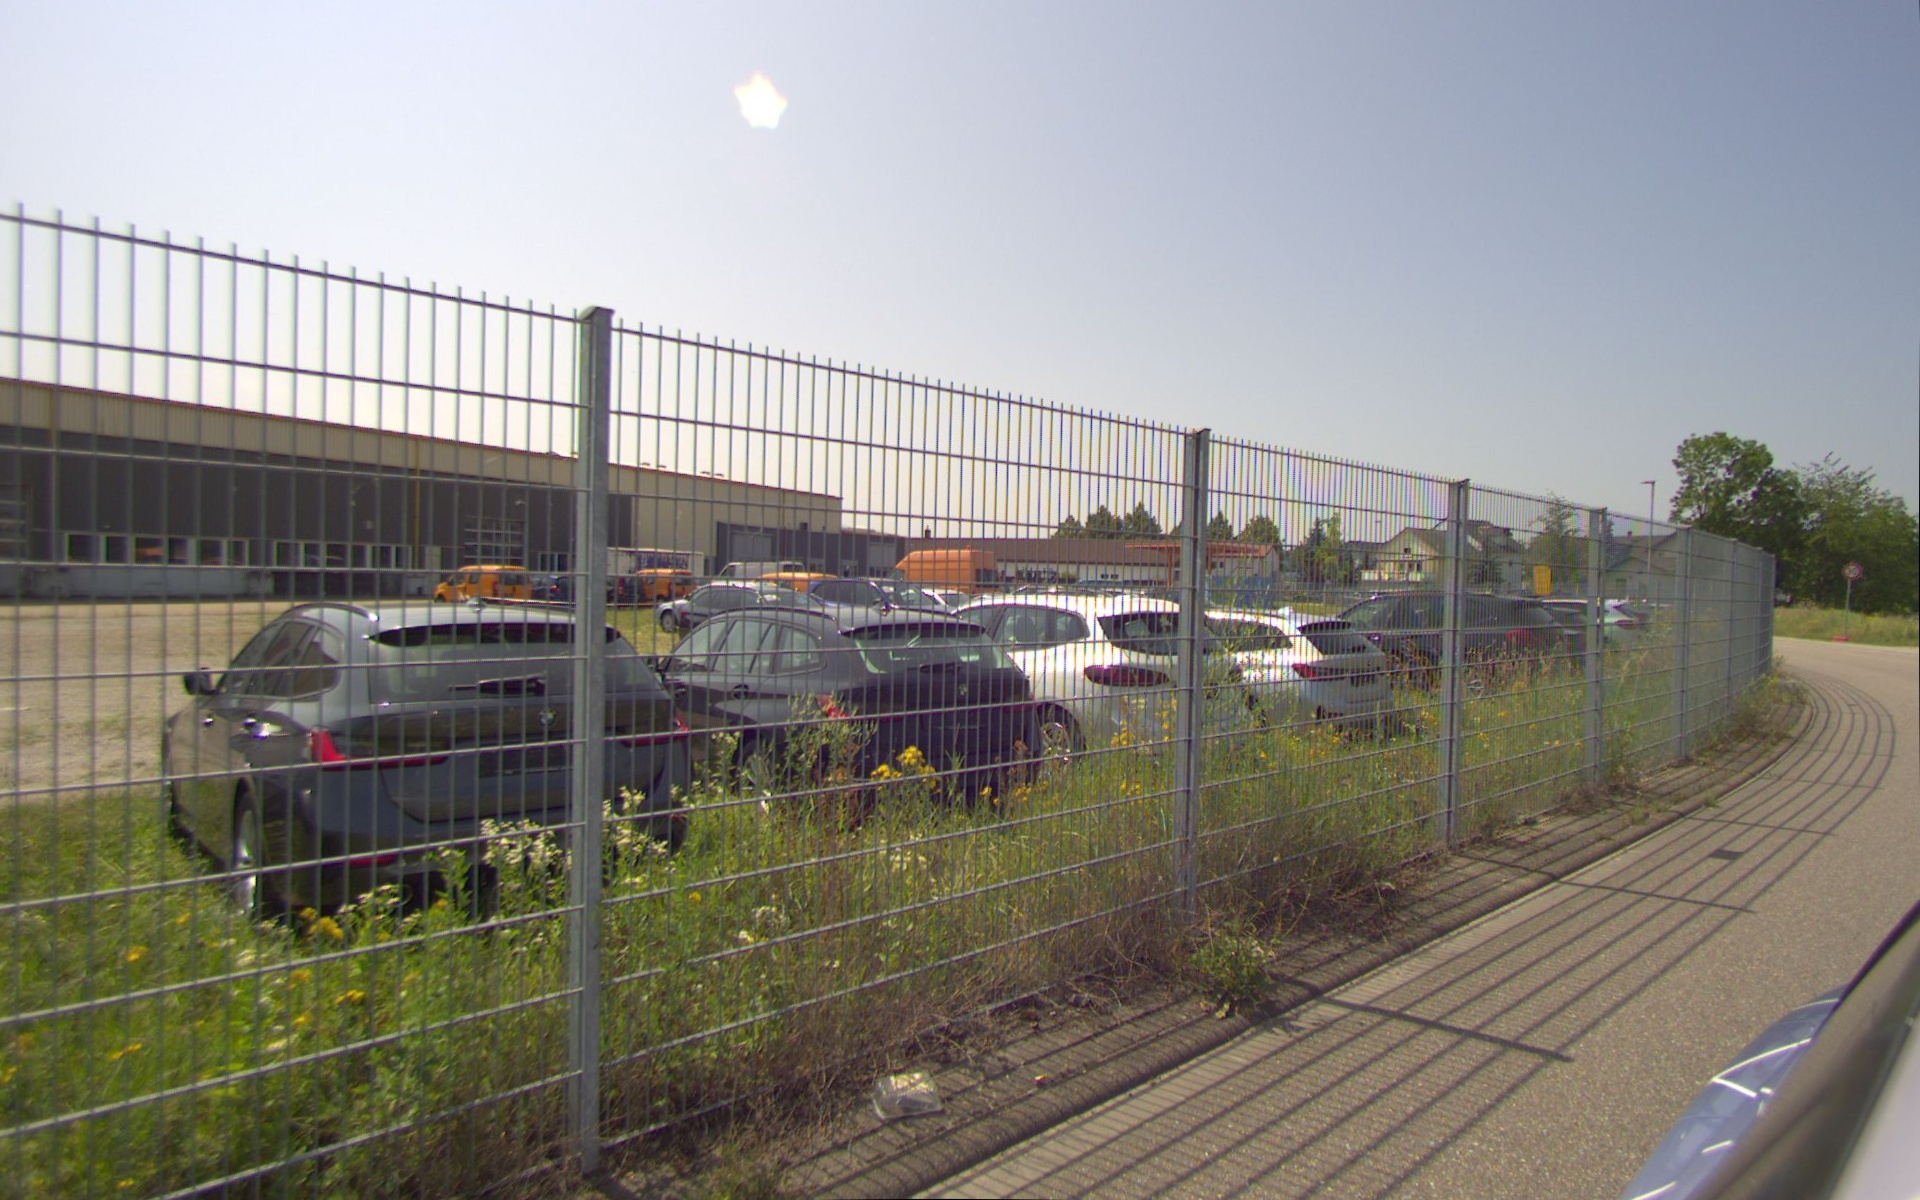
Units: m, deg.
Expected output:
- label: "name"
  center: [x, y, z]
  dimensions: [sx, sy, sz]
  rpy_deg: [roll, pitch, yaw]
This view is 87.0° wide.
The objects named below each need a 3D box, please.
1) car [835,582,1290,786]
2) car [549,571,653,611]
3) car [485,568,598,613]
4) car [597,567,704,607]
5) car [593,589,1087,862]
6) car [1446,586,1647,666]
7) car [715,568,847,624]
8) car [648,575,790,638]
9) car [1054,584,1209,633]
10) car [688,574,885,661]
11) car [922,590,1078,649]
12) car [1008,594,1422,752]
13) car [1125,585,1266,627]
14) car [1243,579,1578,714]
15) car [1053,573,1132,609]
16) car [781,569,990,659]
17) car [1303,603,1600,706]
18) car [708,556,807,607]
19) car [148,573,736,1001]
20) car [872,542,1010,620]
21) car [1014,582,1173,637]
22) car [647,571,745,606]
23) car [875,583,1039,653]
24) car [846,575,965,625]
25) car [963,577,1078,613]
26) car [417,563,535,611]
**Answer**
- label: "car"
  center: [0.681, 0.619, 9.335]
  dimensions: [1.804, 1.424, 4.221]
  rpy_deg: [0, -1, -36]
- label: "car"
  center: [-14.536, -0.381, 40.953]
  dimensions: [3.971, 1.482, 1.977]
  rpy_deg: [2, 1, 33]
- label: "car"
  center: [-15.939, -0.375, 38.477]
  dimensions: [4.356, 1.504, 1.733]
  rpy_deg: [3, 1, 32]
- label: "car"
  center: [-13.136, -0.571, 42.941]
  dimensions: [4.356, 1.504, 1.951]
  rpy_deg: [3, 1, 32]
- label: "car"
  center: [-1.181, 0.688, 7.544]
  dimensions: [1.804, 1.424, 4.221]
  rpy_deg: [0, -1, -36]
- label: "car"
  center: [14.309, 0.575, 24.839]
  dimensions: [4.105, 1.690, 1.703]
  rpy_deg: [3, 1, 33]
- label: "car"
  center: [-5.315, -0.138, 29.829]
  dimensions: [3.804, 1.480, 1.569]
  rpy_deg: [3, 1, 34]
- label: "car"
  center: [-6.511, 0.135, 27.214]
  dimensions: [3.804, 1.480, 1.569]
  rpy_deg: [3, 1, 34]
- label: "car"
  center: [5.599, 0.258, 33.342]
  dimensions: [4.728, 1.368, 1.799]
  rpy_deg: [3, 1, 34]
- label: "car"
  center: [-3.444, 0.289, 19.856]
  dimensions: [3.748, 1.455, 1.592]
  rpy_deg: [3, 1, 34]
- label: "car"
  center: [1.007, 0.465, 26.254]
  dimensions: [3.748, 1.318, 1.592]
  rpy_deg: [3, 1, 34]
- label: "car"
  center: [2.676, 0.700, 11.380]
  dimensions: [1.807, 1.424, 4.214]
  rpy_deg: [0, -1, -42]
- label: "car"
  center: [8.674, 0.197, 37.456]
  dimensions: [4.728, 1.369, 1.799]
  rpy_deg: [2, 1, 34]
- label: "car"
  center: [6.685, 0.582, 15.381]
  dimensions: [1.735, 1.657, 4.286]
  rpy_deg: [1, 1, -43]
- label: "car"
  center: [8.055, -0.567, 61.572]
  dimensions: [4.361, 2.006, 1.819]
  rpy_deg: [3, 1, 34]
- label: "car"
  center: [-1.682, 0.234, 21.986]
  dimensions: [4.454, 1.669, 1.852]
  rpy_deg: [3, 1, 39]
- label: "car"
  center: [8.390, 0.850, 17.559]
  dimensions: [1.735, 1.395, 4.285]
  rpy_deg: [1, 1, -44]
- label: "car"
  center: [-9.472, -0.867, 47.236]
  dimensions: [4.356, 2.199, 1.951]
  rpy_deg: [3, 1, 32]
- label: "car"
  center: [-3.202, 0.629, 5.660]
  dimensions: [1.807, 1.424, 4.514]
  rpy_deg: [0, 0, -43]
- label: "car"
  center: [-0.728, -0.729, 36.791]
  dimensions: [4.715, 2.617, 1.956]
  rpy_deg: [3, 1, 34]
- label: "car"
  center: [4.025, 0.252, 30.936]
  dimensions: [4.546, 1.450, 1.642]
  rpy_deg: [3, 1, 34]
- label: "car"
  center: [-11.815, -0.505, 45.175]
  dimensions: [4.361, 1.395, 1.819]
  rpy_deg: [3, 1, 34]
- label: "car"
  center: [-0.108, 0.397, 24.698]
  dimensions: [3.748, 1.455, 1.592]
  rpy_deg: [3, 1, 34]
- label: "car"
  center: [-1.863, -0.029, 34.010]
  dimensions: [3.804, 1.480, 1.569]
  rpy_deg: [3, 1, 34]
- label: "car"
  center: [2.446, -0.226, 41.376]
  dimensions: [4.361, 1.285, 1.799]
  rpy_deg: [3, 1, 34]
- label: "car"
  center: [-17.240, -0.484, 35.990]
  dimensions: [4.356, 1.504, 1.733]
  rpy_deg: [3, 1, 32]
